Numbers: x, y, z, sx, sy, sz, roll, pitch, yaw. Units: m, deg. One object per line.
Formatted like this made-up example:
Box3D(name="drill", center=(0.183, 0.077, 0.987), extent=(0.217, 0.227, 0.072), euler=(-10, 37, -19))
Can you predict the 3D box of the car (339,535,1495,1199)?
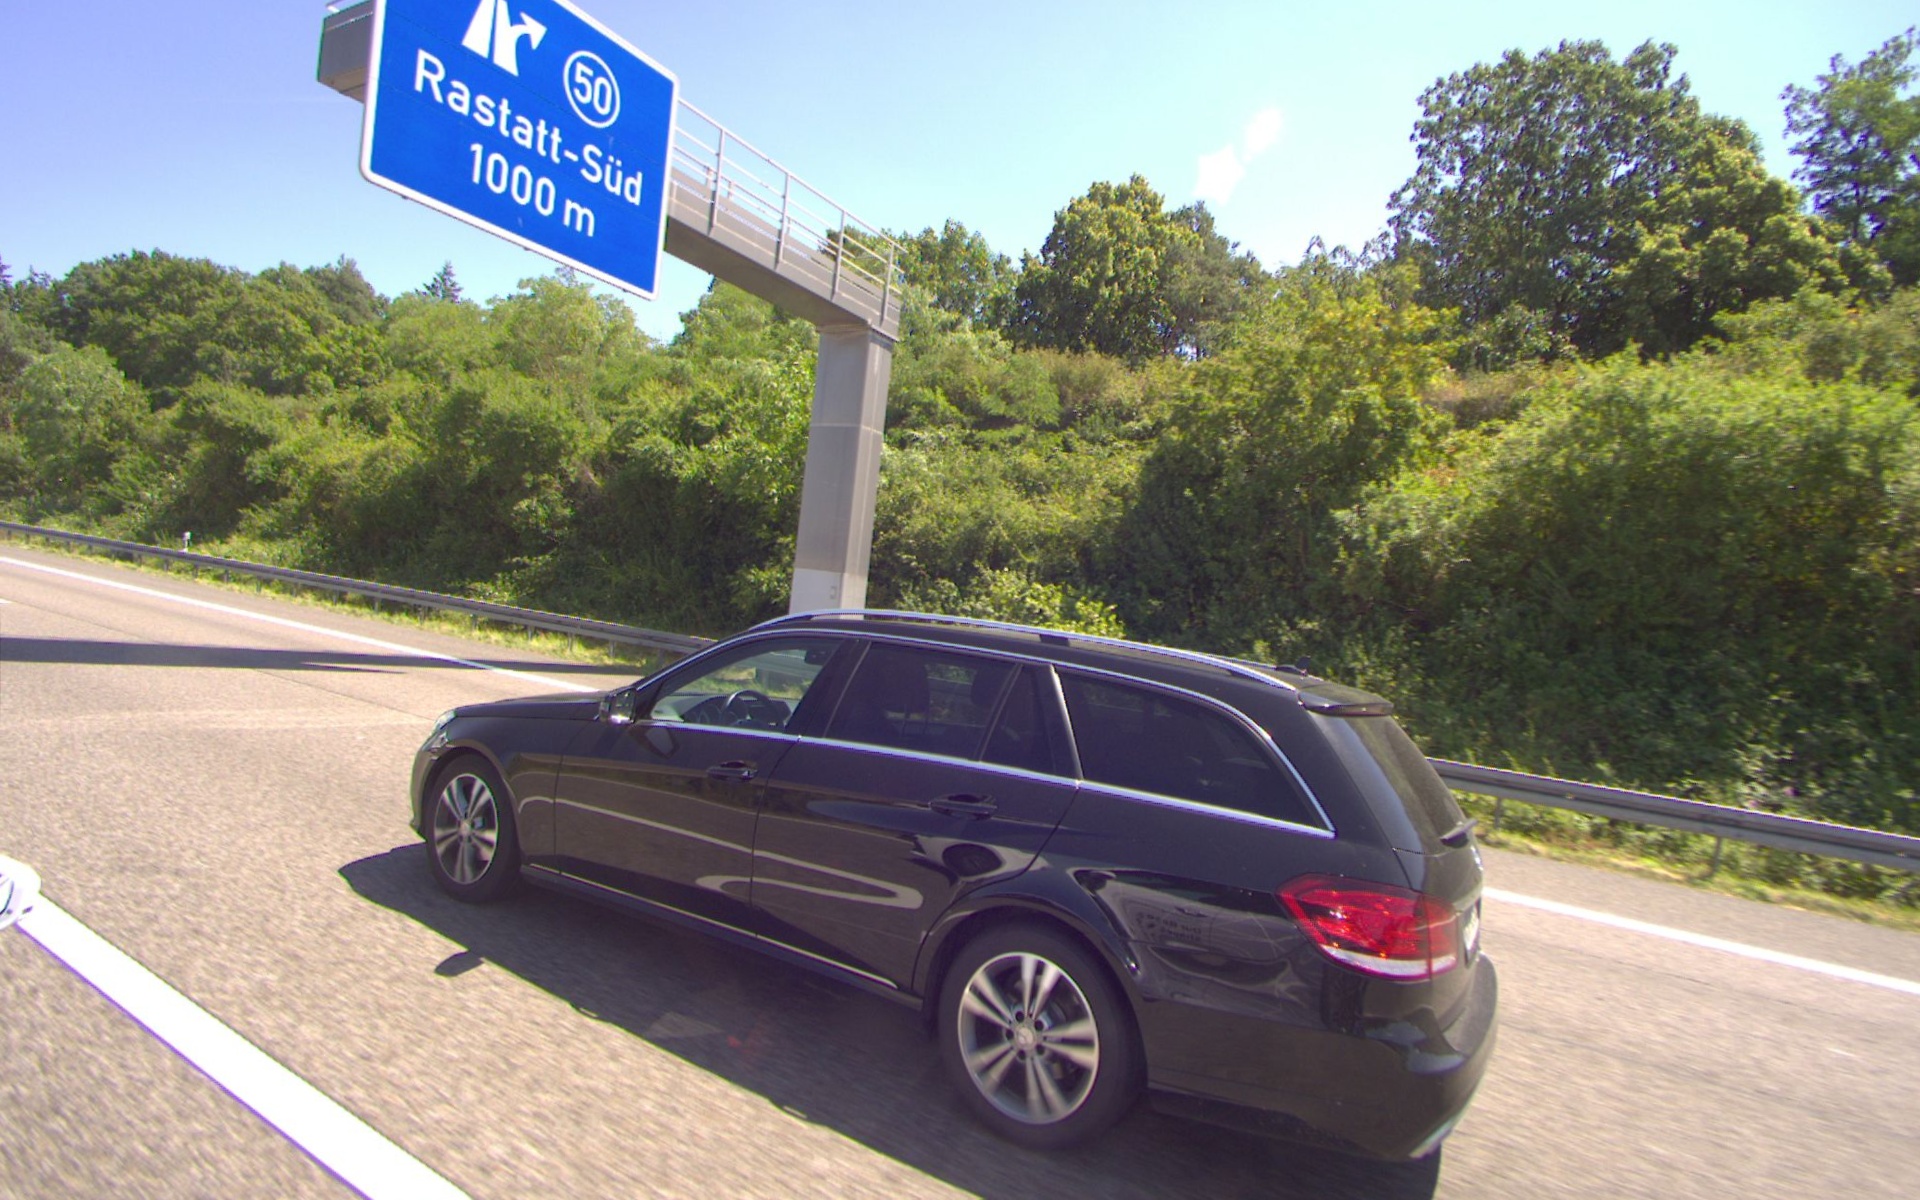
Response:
Box3D(name="car", center=(-0.444, 0.746, 4.360), extent=(4.660, 1.523, 1.844), euler=(6, -1, 32))
